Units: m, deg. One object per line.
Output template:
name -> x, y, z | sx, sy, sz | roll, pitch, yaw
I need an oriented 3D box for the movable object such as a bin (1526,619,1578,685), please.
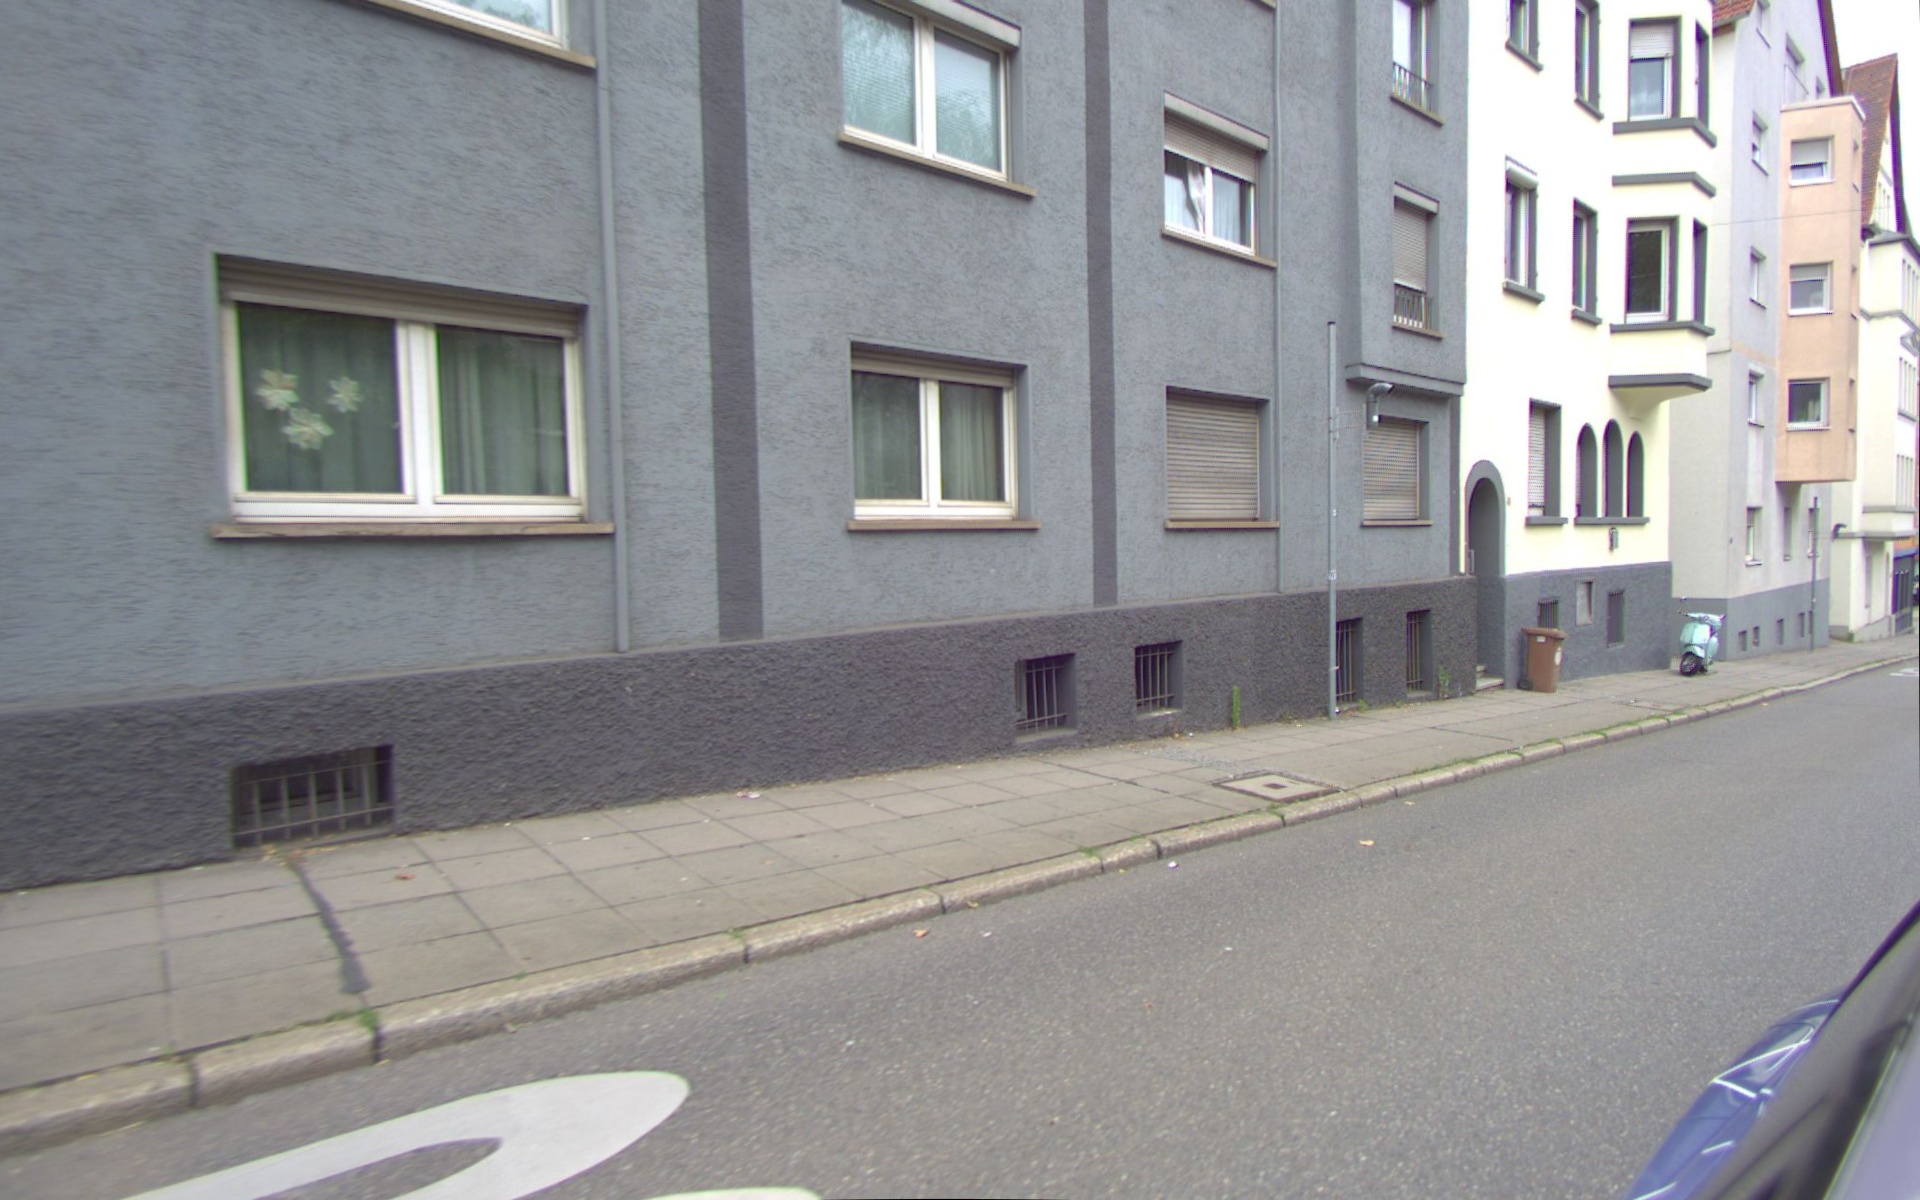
movable object such as a bin -> 8.630, 0.749, 14.755 | 0.508, 0.902, 0.476 | 0, 4, -41

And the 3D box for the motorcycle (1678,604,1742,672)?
motorcycle -> 14.023, 0.676, 18.899 | 2.189, 1.170, 0.538 | 0, 4, -44
